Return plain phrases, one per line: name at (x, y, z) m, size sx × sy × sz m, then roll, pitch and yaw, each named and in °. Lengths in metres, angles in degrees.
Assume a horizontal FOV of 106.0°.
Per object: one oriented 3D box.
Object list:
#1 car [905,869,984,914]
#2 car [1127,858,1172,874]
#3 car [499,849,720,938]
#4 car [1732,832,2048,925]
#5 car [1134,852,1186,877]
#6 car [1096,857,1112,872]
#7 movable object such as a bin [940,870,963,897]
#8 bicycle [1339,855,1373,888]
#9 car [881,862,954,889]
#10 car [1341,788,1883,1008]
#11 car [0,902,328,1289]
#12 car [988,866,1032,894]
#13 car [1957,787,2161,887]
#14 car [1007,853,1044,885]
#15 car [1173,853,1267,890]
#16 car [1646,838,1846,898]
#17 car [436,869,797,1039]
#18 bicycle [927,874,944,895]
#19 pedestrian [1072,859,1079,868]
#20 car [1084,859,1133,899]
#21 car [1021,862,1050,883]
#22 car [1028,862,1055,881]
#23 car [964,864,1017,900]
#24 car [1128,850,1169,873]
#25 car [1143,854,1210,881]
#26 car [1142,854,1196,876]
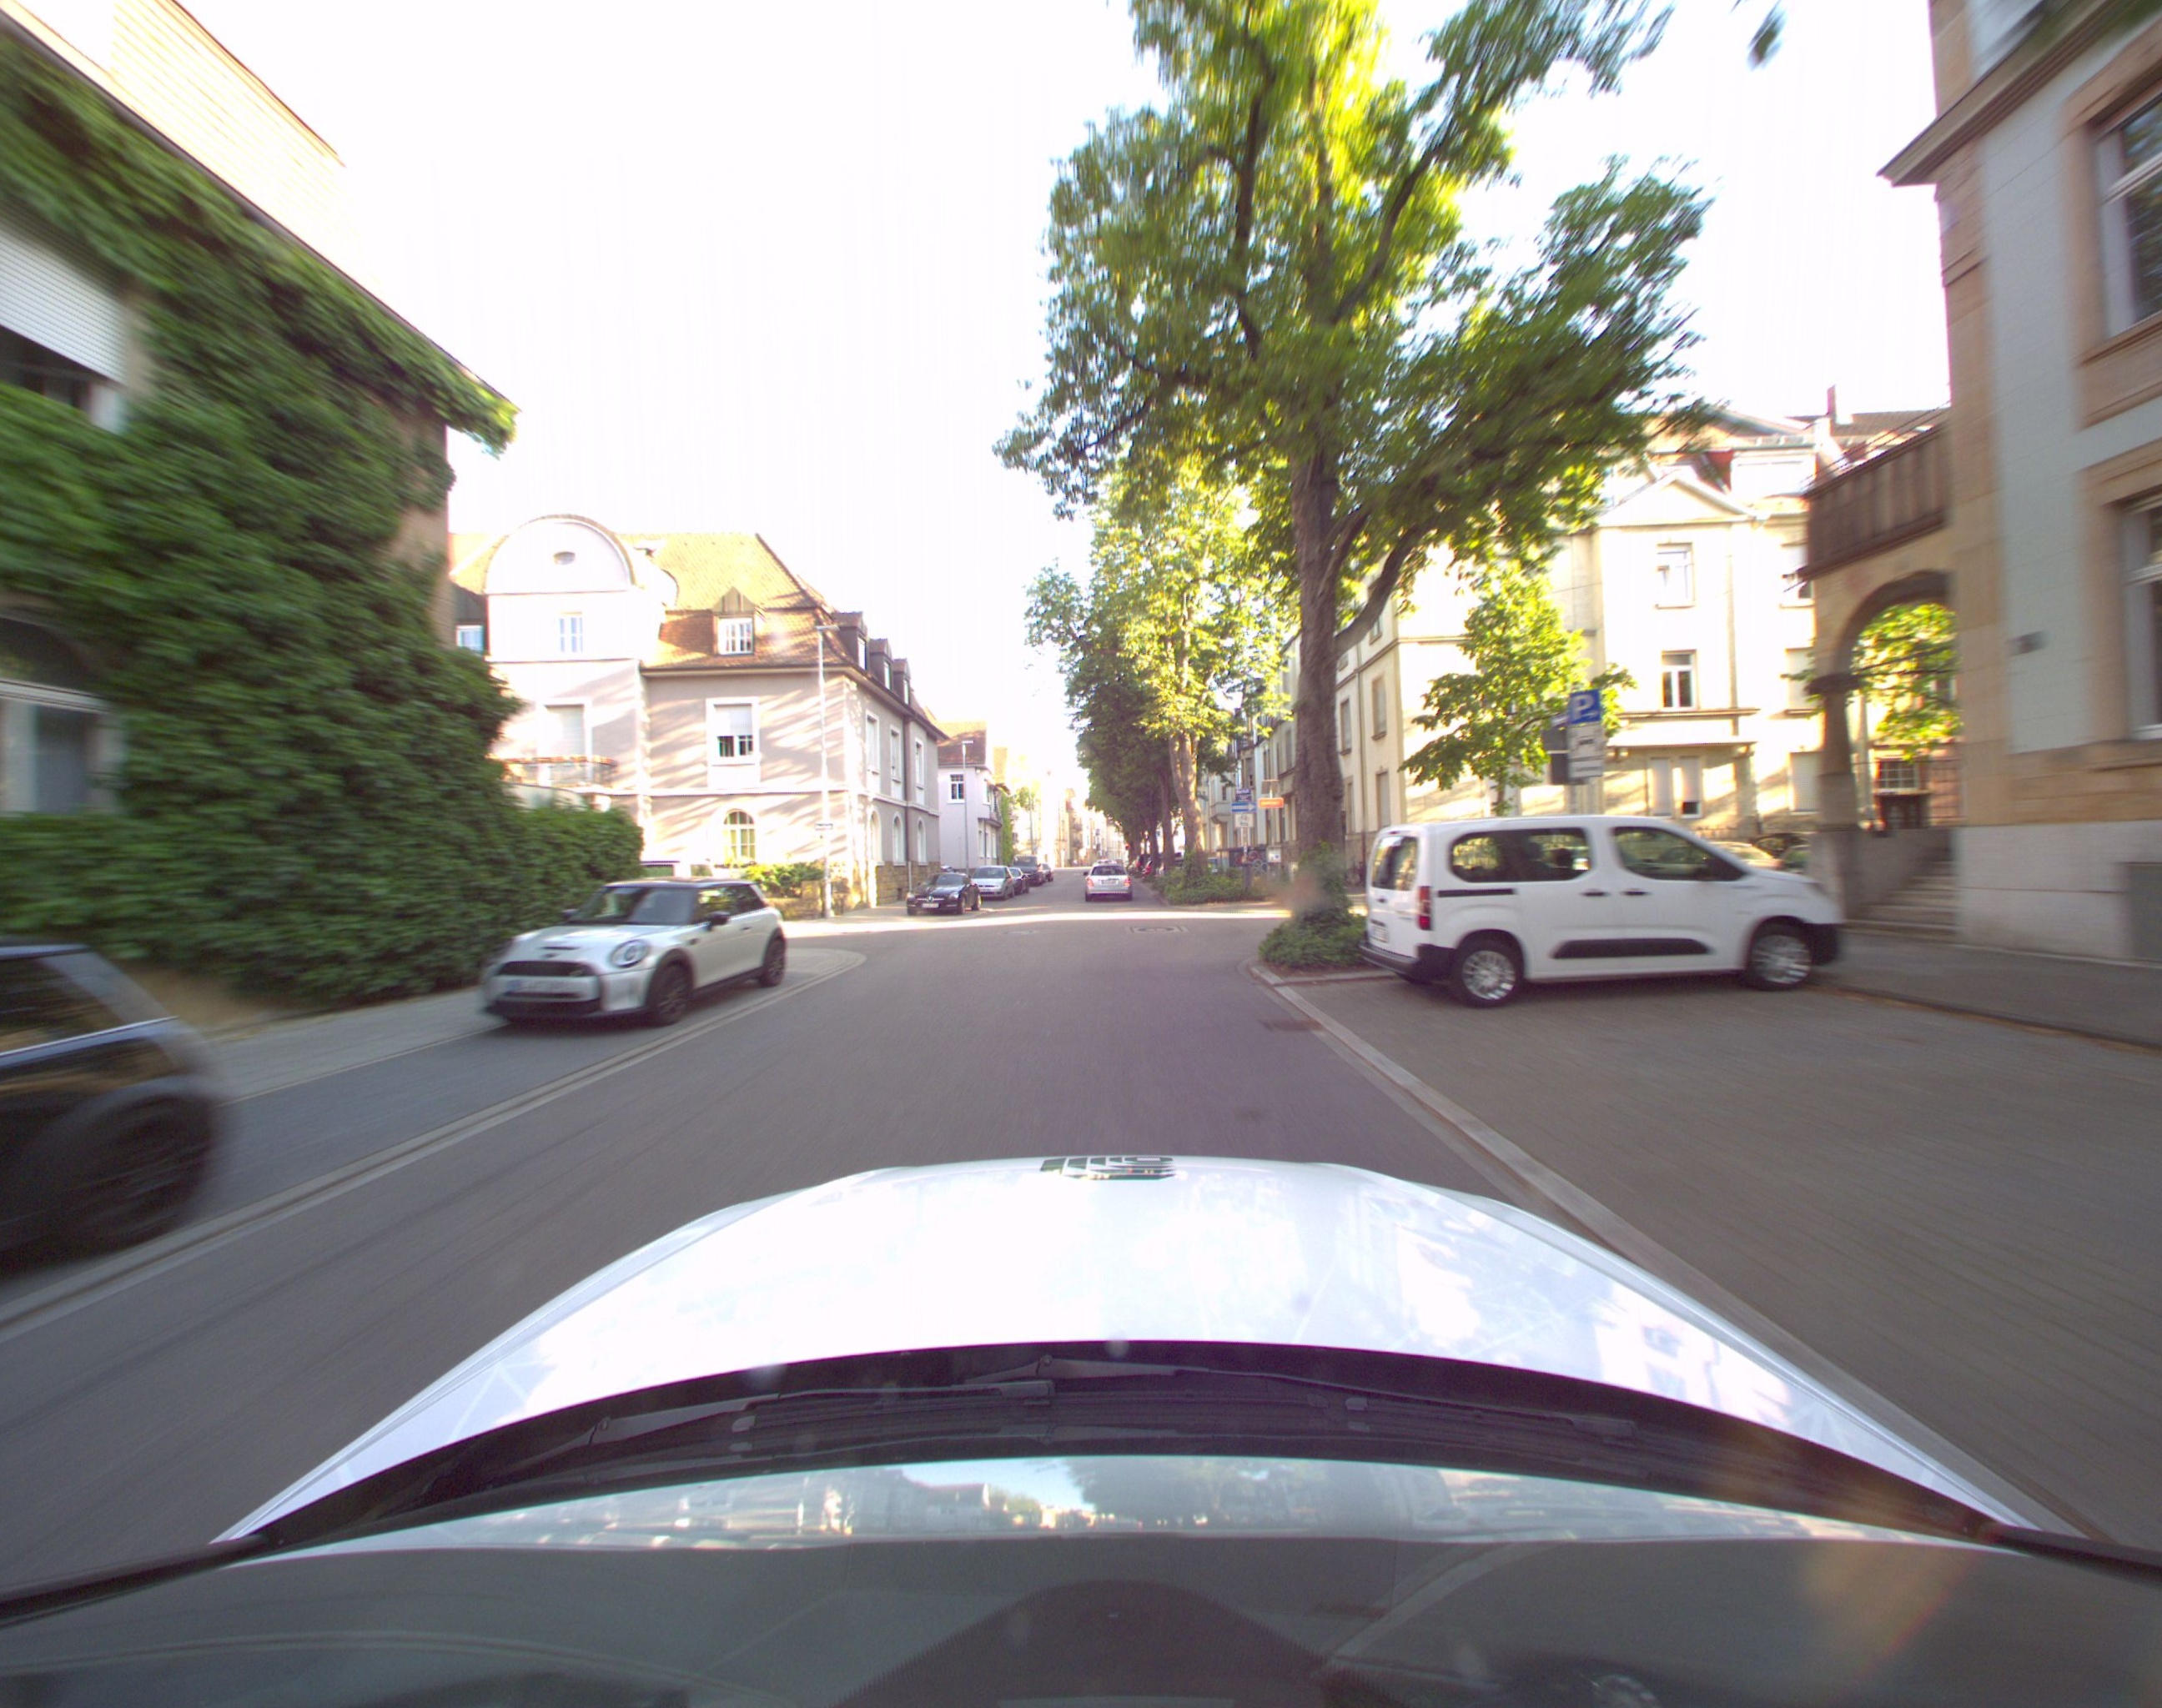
car at (-4.378, 1.178, 26.715) m, size 1.646 × 1.324 × 4.049 m, roll 0°, pitch -1°, yaw 4°
car at (6.864, 1.227, 81.833) m, size 4.275 × 1.417 × 1.876 m, roll -3°, pitch 0°, yaw -1°
car at (-11.851, 1.004, 20.715) m, size 4.388 × 2.014 × 1.998 m, roll -2°, pitch -3°, yaw -2°
car at (14.654, 0.408, 14.910) m, size 4.142 × 1.476 × 1.656 m, roll -2°, pitch 1°, yaw 0°
car at (6.751, 0.866, 69.647) m, size 4.207 × 1.896 × 1.905 m, roll -3°, pitch -1°, yaw -1°
car at (2.444, 1.091, 86.458) m, size 1.617 × 1.570 × 3.682 m, roll -1°, pitch 0°, yaw 2°
movable object such as a bin at (-6.486, 1.462, 40.797) m, size 0.719 × 1.283 × 2.097 m, roll -1°, pitch 0°, yaw 2°
bicycle at (10.358, 0.637, 30.699) m, size 0.583 × 1.212 × 1.957 m, roll -1°, pitch 0°, yaw 0°
car at (-9.409, 1.238, 47.075) m, size 3.854 × 1.443 × 1.633 m, roll -1°, pitch 0°, yaw -3°
car at (5.221, 0.413, 8.531) m, size 4.299 × 1.807 × 2.000 m, roll -3°, pitch 0°, yaw 1°
car at (-4.918, 0.943, 2.487) m, size 1.680 × 1.379 × 3.722 m, roll 0°, pitch 0°, yaw 2°
car at (-3.496, 1.260, 40.619) m, size 1.524 × 1.319 × 4.231 m, roll -1°, pitch -1°, yaw 4°
car at (26.885, -0.450, 21.916) m, size 1.864 × 2.420 × 4.524 m, roll -2°, pitch 0°, yaw 3°
car at (-3.481, 0.908, 52.075) m, size 1.975 × 1.947 × 4.852 m, roll 0°, pitch 0°, yaw 1°
car at (6.119, 0.774, 36.075) m, size 3.784 × 1.438 × 1.747 m, roll -3°, pitch -1°, yaw -3°
car at (17.759, 0.340, 22.098) m, size 1.837 × 1.409 × 4.531 m, roll -2°, pitch 0°, yaw 2°
car at (-4.858, 0.931, 9.274) m, size 1.697 × 1.460 × 3.920 m, roll 0°, pitch 0°, yaw 3°
bicycle at (-6.894, 1.424, 38.653) m, size 0.392 × 0.937 × 1.723 m, roll -2°, pitch 0°, yaw 2°
pedestrian at (-1.051, 1.788, 153.023) m, size 1.215 × 1.722 × 1.505 m, roll 0°, pitch -1°, yaw 5°
car at (1.075, 0.933, 31.335) m, size 1.777 × 1.437 × 3.852 m, roll 0°, pitch -1°, yaw 2°
car at (-3.191, 1.289, 57.926) m, size 1.647 × 1.447 × 4.239 m, roll 0°, pitch 0°, yaw 2°
car at (-3.025, 1.329, 63.217) m, size 1.688 × 1.447 × 4.359 m, roll 0°, pitch 0°, yaw 2°
car at (-3.860, 1.162, 35.296) m, size 1.647 × 1.445 × 3.962 m, roll 0°, pitch 0°, yaw 2°
car at (7.414, 0.847, 89.749) m, size 4.376 × 2.364 × 1.999 m, roll -1°, pitch 0°, yaw -1°
car at (6.174, 0.898, 53.053) m, size 4.171 × 1.475 × 1.853 m, roll -3°, pitch -1°, yaw 4°
car at (7.007, 0.865, 64.940) m, size 4.095 × 1.571 × 1.877 m, roll -3°, pitch -1°, yaw 1°
